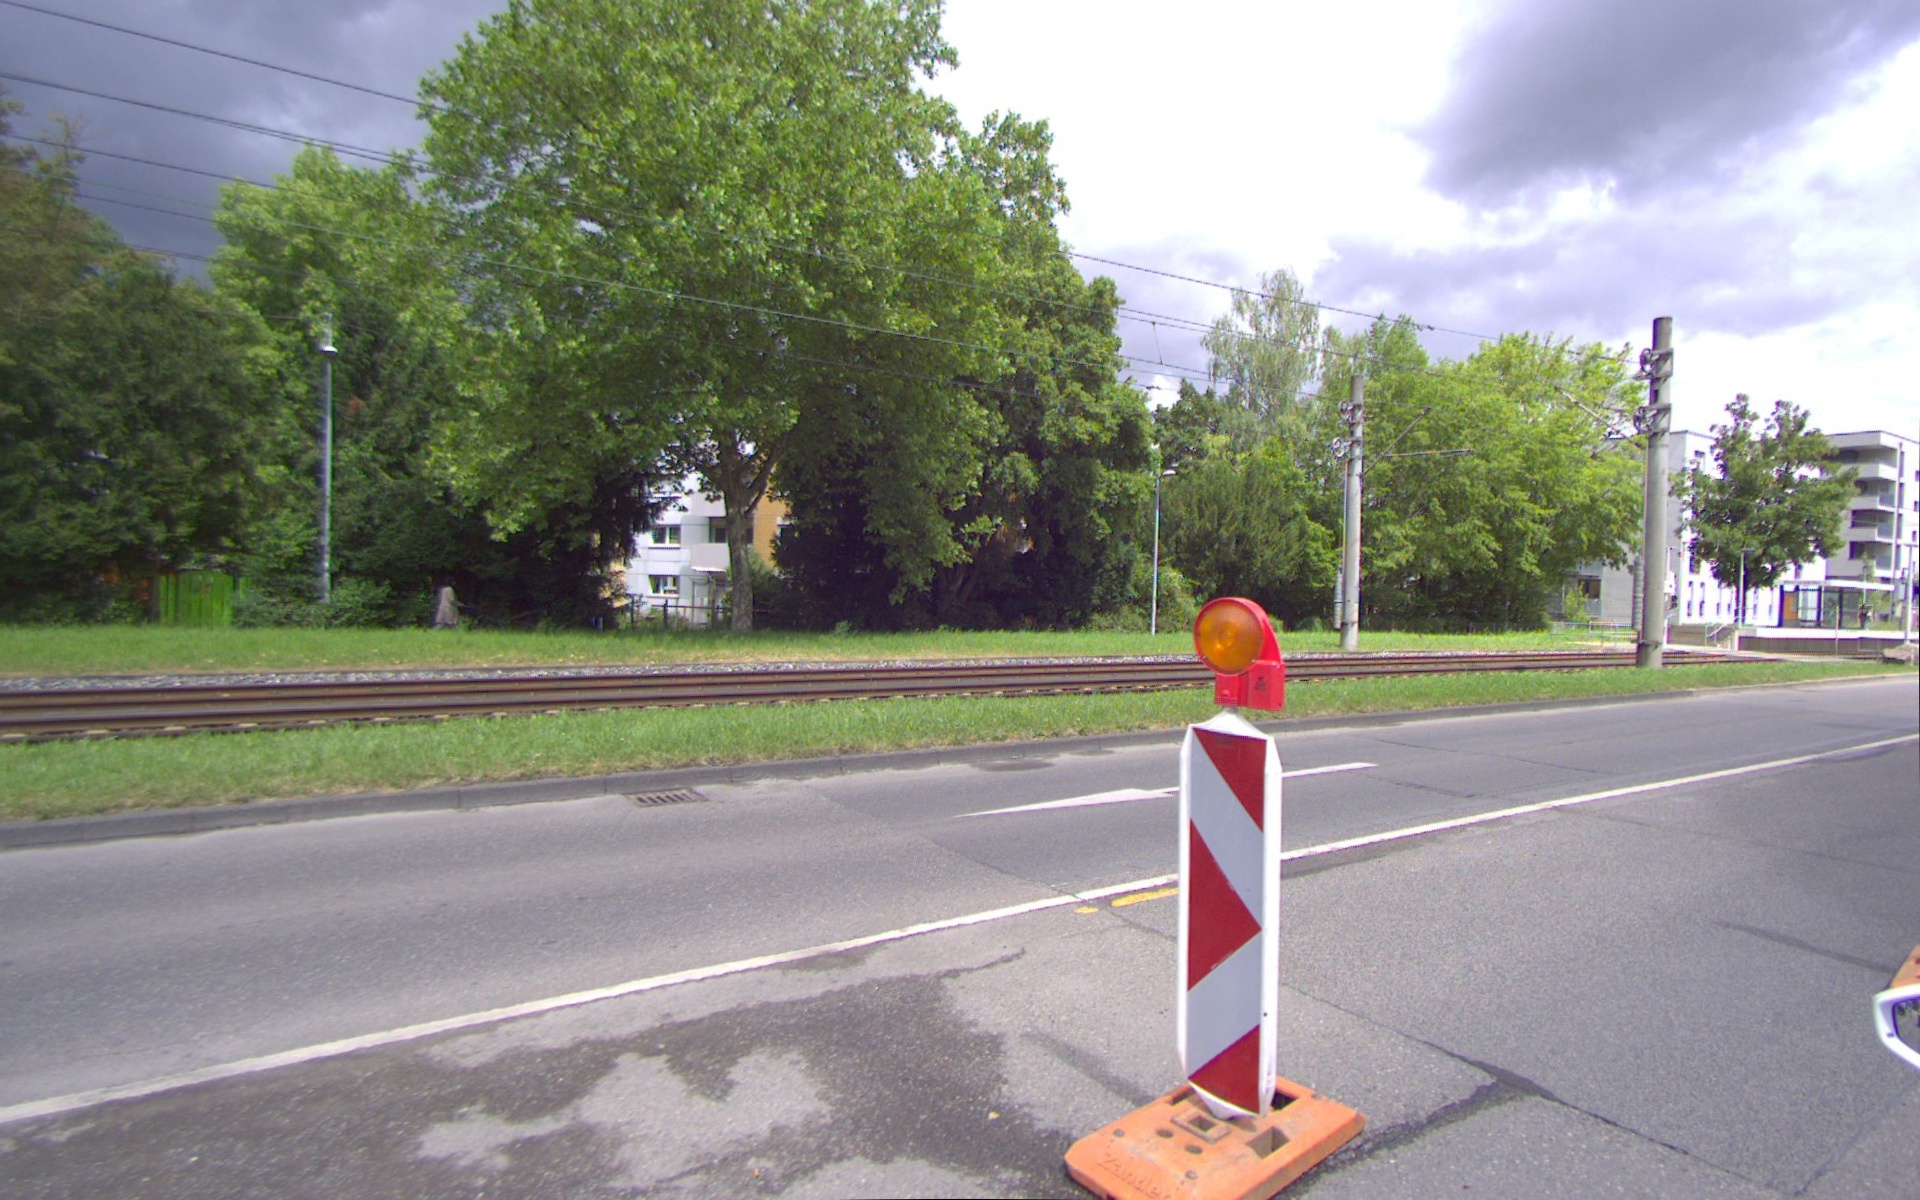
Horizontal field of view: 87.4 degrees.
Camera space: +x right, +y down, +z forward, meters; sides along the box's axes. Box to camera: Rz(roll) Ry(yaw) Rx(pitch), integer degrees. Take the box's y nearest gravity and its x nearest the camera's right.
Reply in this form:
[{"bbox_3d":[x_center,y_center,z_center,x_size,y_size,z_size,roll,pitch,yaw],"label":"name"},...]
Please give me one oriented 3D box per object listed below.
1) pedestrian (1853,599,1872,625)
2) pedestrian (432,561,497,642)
[{"bbox_3d":[54.915,0.741,61.123,0.543,1.551,0.735,1,1,-41],"label":"pedestrian"},{"bbox_3d":[-12.416,0.045,25.159,1.348,1.959,1.028,1,1,-32],"label":"pedestrian"}]
